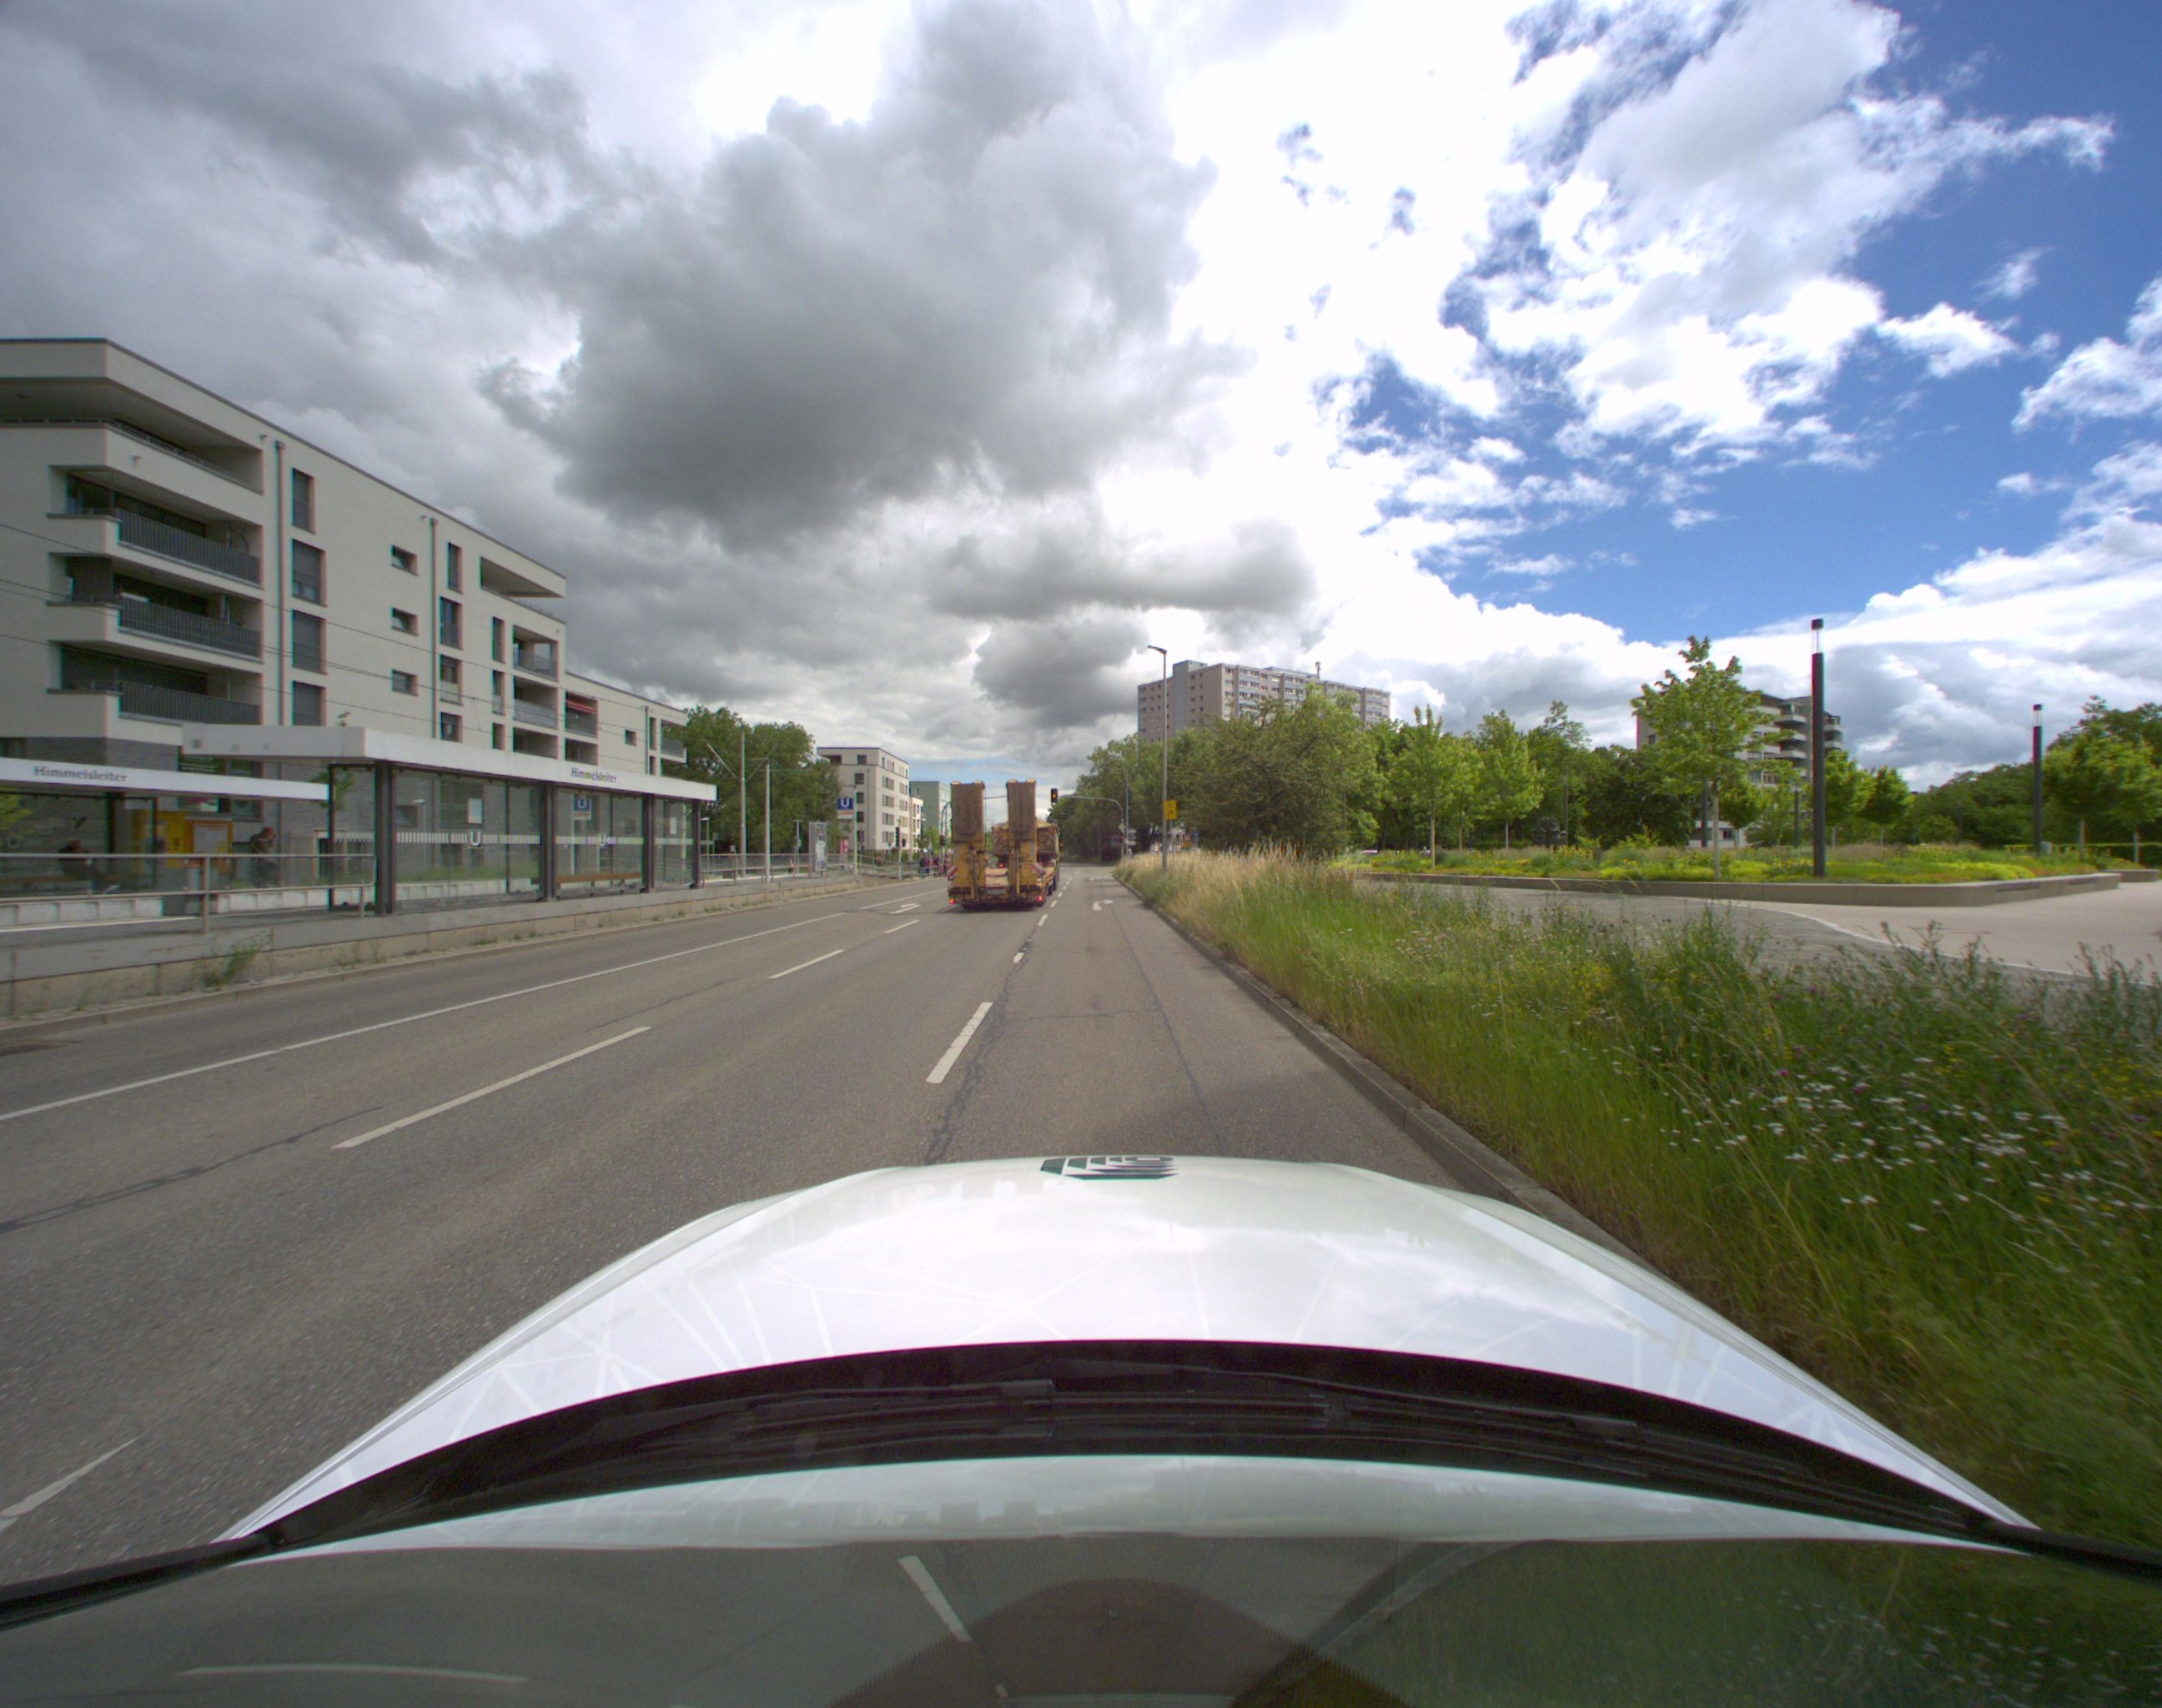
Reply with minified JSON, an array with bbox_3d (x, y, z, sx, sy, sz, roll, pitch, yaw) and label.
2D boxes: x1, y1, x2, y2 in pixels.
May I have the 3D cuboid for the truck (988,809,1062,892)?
[{"bbox_3d":[-2.319,-0.169,36.669,2.744,3.313,8.351,0,0,0],"label":"truck"}]

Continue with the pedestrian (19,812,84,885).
[{"bbox_3d":[-22.401,-0.113,17.731,0.559,1.554,0.678,0,0,2],"label":"pedestrian"}]

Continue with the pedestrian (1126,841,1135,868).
[{"bbox_3d":[3.587,0.043,59.356,0.561,2.014,0.490,0,-1,-9],"label":"pedestrian"}]

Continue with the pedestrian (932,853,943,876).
[{"bbox_3d":[-10.090,0.755,57.255,0.679,1.602,0.823,0,0,-1],"label":"pedestrian"}]

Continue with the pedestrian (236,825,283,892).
[{"bbox_3d":[-21.990,0.110,21.804,0.559,1.766,0.678,0,0,2],"label":"pedestrian"}]

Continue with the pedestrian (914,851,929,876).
[{"bbox_3d":[-10.979,0.651,56.085,0.817,1.668,0.684,0,0,1],"label":"pedestrian"}]

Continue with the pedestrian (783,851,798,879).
[{"bbox_3d":[-23.499,0.864,65.909,0.912,2.205,0.882,0,0,0],"label":"pedestrian"}]

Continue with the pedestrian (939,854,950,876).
[{"bbox_3d":[-10.045,0.813,59.869,0.679,1.602,0.823,0,0,-1],"label":"pedestrian"}]

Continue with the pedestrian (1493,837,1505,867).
[{"bbox_3d":[27.383,-0.115,53.332,0.574,1.951,0.406,0,0,0],"label":"pedestrian"}]

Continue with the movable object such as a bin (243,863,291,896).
[{"bbox_3d":[-21.551,0.664,21.566,0.559,0.849,0.678,0,0,2],"label":"movable object such as a bin"}]

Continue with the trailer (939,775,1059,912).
[{"bbox_3d":[-2.293,-0.294,26.825,2.720,3.558,11.253,0,0,0],"label":"trailer"}]

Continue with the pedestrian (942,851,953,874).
[{"bbox_3d":[-9.979,0.641,60.752,0.679,1.670,0.823,0,0,-1],"label":"pedestrian"}]

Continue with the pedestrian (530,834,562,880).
[{"bbox_3d":[-21.105,0.108,32.132,0.674,1.766,0.933,0,0,-2],"label":"pedestrian"}]

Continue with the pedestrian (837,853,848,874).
[{"bbox_3d":[-24.720,0.968,84.444,0.912,2.133,0.935,0,0,0],"label":"pedestrian"}]

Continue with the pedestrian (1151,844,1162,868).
[{"bbox_3d":[5.384,0.141,57.812,0.621,1.653,0.566,-1,-1,26],"label":"pedestrian"}]

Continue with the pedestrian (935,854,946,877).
[{"bbox_3d":[-10.063,0.802,58.387,0.679,1.602,0.823,0,0,-1],"label":"pedestrian"}]
